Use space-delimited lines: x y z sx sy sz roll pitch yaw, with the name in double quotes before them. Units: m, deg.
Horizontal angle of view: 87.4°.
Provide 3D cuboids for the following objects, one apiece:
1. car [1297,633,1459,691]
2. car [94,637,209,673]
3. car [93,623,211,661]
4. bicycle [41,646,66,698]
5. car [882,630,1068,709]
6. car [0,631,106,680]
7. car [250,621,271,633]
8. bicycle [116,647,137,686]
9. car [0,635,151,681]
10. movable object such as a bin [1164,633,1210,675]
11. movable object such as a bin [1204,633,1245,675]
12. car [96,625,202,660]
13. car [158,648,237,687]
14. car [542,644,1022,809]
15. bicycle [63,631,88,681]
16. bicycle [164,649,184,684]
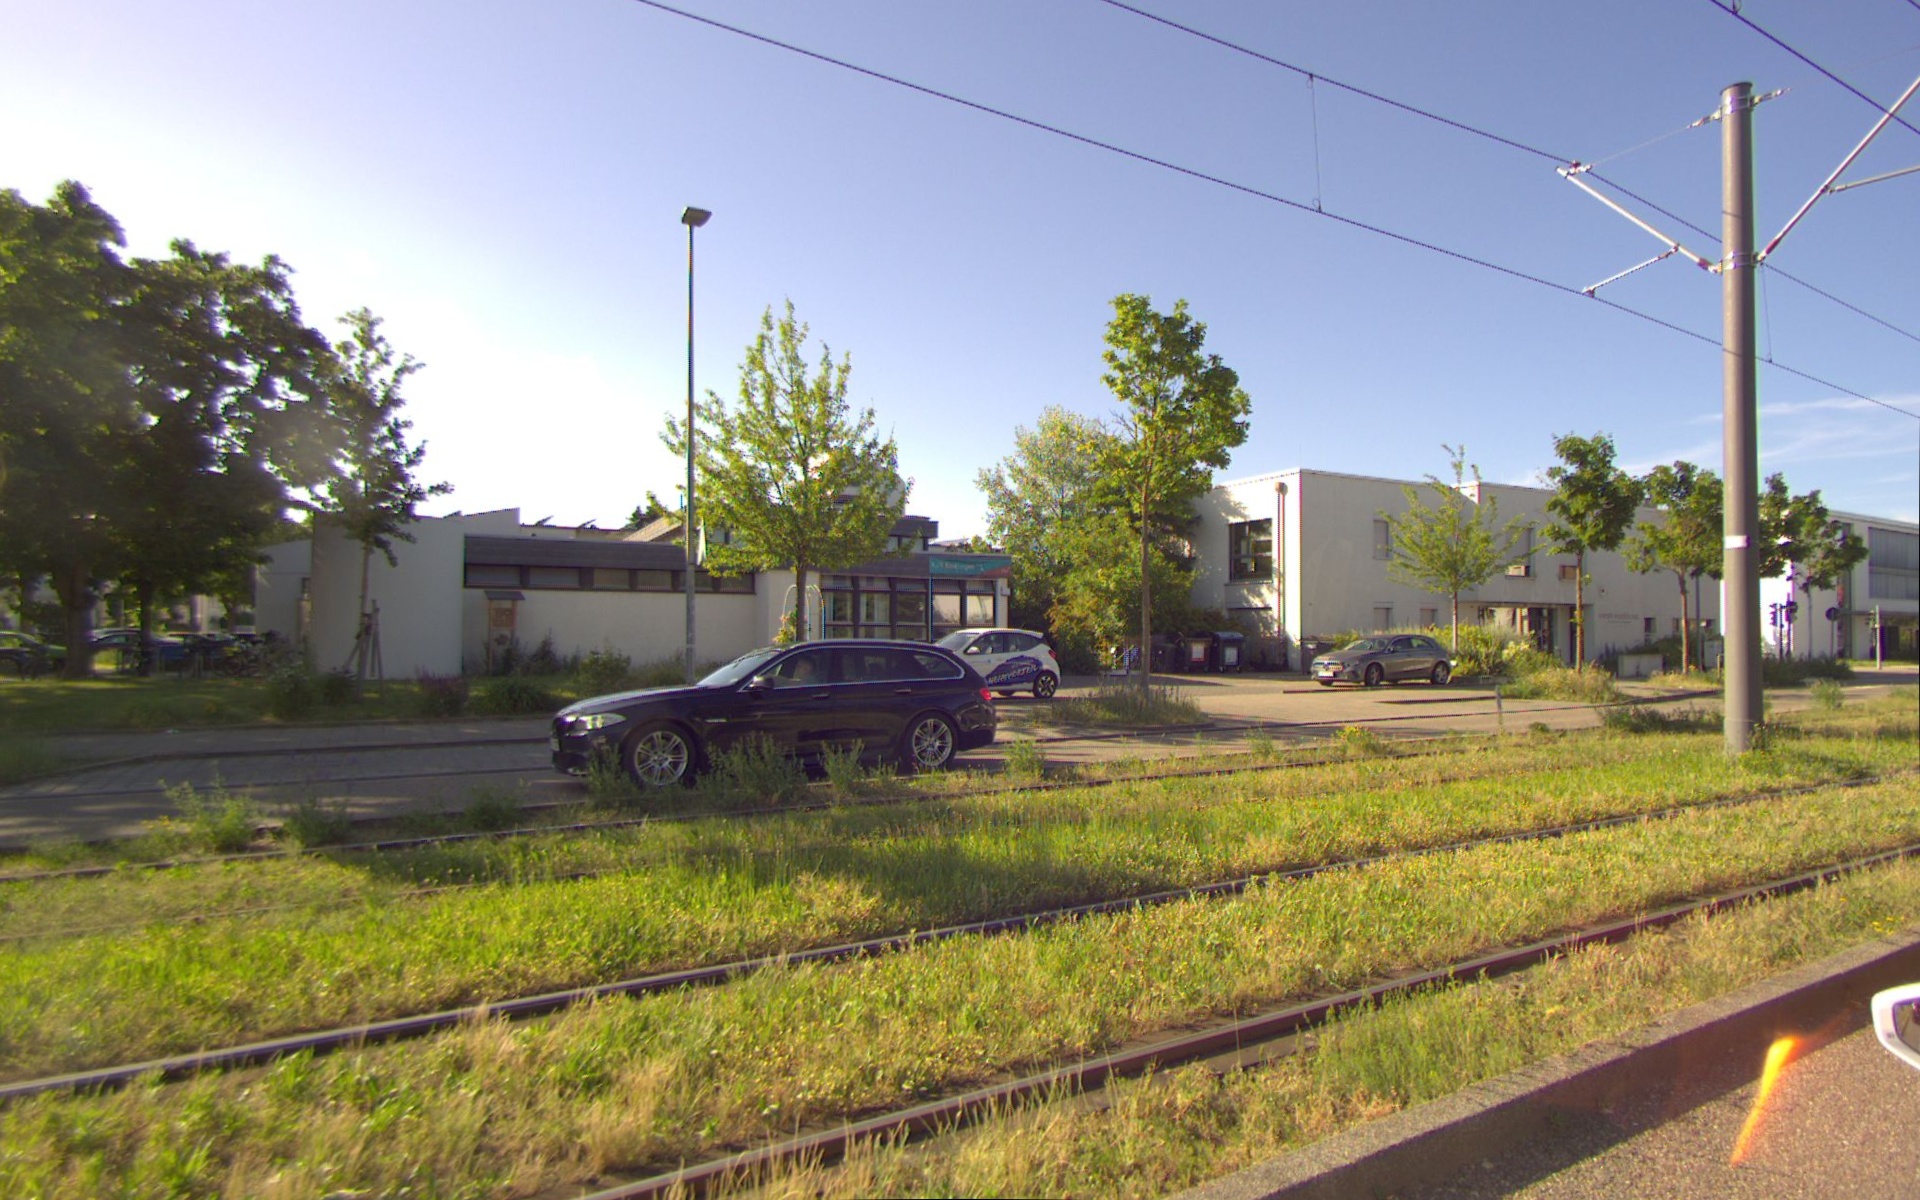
"car" 11.668 1.691 27.998 4.260 1.480 1.805 1 -1 -26
"car" -37.129 2.501 46.233 3.775 1.505 1.719 0 0 -24
"car" -39.150 2.012 48.798 4.105 1.697 1.841 0 0 -24
"bicycle" -19.553 1.542 21.667 1.042 1.097 0.303 -2 -2 43
"car" 0.351 1.430 21.399 3.733 1.511 1.536 2 -1 -32
"car" -31.551 1.876 34.279 3.341 1.551 1.472 0 0 -19
"car" -83.566 3.222 120.008 1.415 1.351 3.258 1 -1 -23
"bicycle" -18.694 1.485 22.535 0.331 0.836 1.231 2 -2 -39
"car" -32.127 2.067 36.610 3.777 1.505 1.719 0 0 -25
"movable object such as a bin" 7.834 1.847 34.612 1.401 1.401 0.663 1 0 -22
"movable object such as a bin" 9.287 1.897 35.248 1.236 1.452 0.663 1 0 -22
"car" -40.994 2.110 50.862 3.952 1.638 1.616 0 0 -30
"car" -27.087 2.349 35.787 1.324 1.228 4.006 1 -2 -24
"car" -1.810 1.227 10.943 4.862 1.463 1.753 2 -4 -32
"bicycle" -19.316 1.210 21.927 1.026 1.073 0.303 -2 -2 44
"bicycle" -18.210 1.535 23.286 0.299 0.790 1.052 1 -2 -35
